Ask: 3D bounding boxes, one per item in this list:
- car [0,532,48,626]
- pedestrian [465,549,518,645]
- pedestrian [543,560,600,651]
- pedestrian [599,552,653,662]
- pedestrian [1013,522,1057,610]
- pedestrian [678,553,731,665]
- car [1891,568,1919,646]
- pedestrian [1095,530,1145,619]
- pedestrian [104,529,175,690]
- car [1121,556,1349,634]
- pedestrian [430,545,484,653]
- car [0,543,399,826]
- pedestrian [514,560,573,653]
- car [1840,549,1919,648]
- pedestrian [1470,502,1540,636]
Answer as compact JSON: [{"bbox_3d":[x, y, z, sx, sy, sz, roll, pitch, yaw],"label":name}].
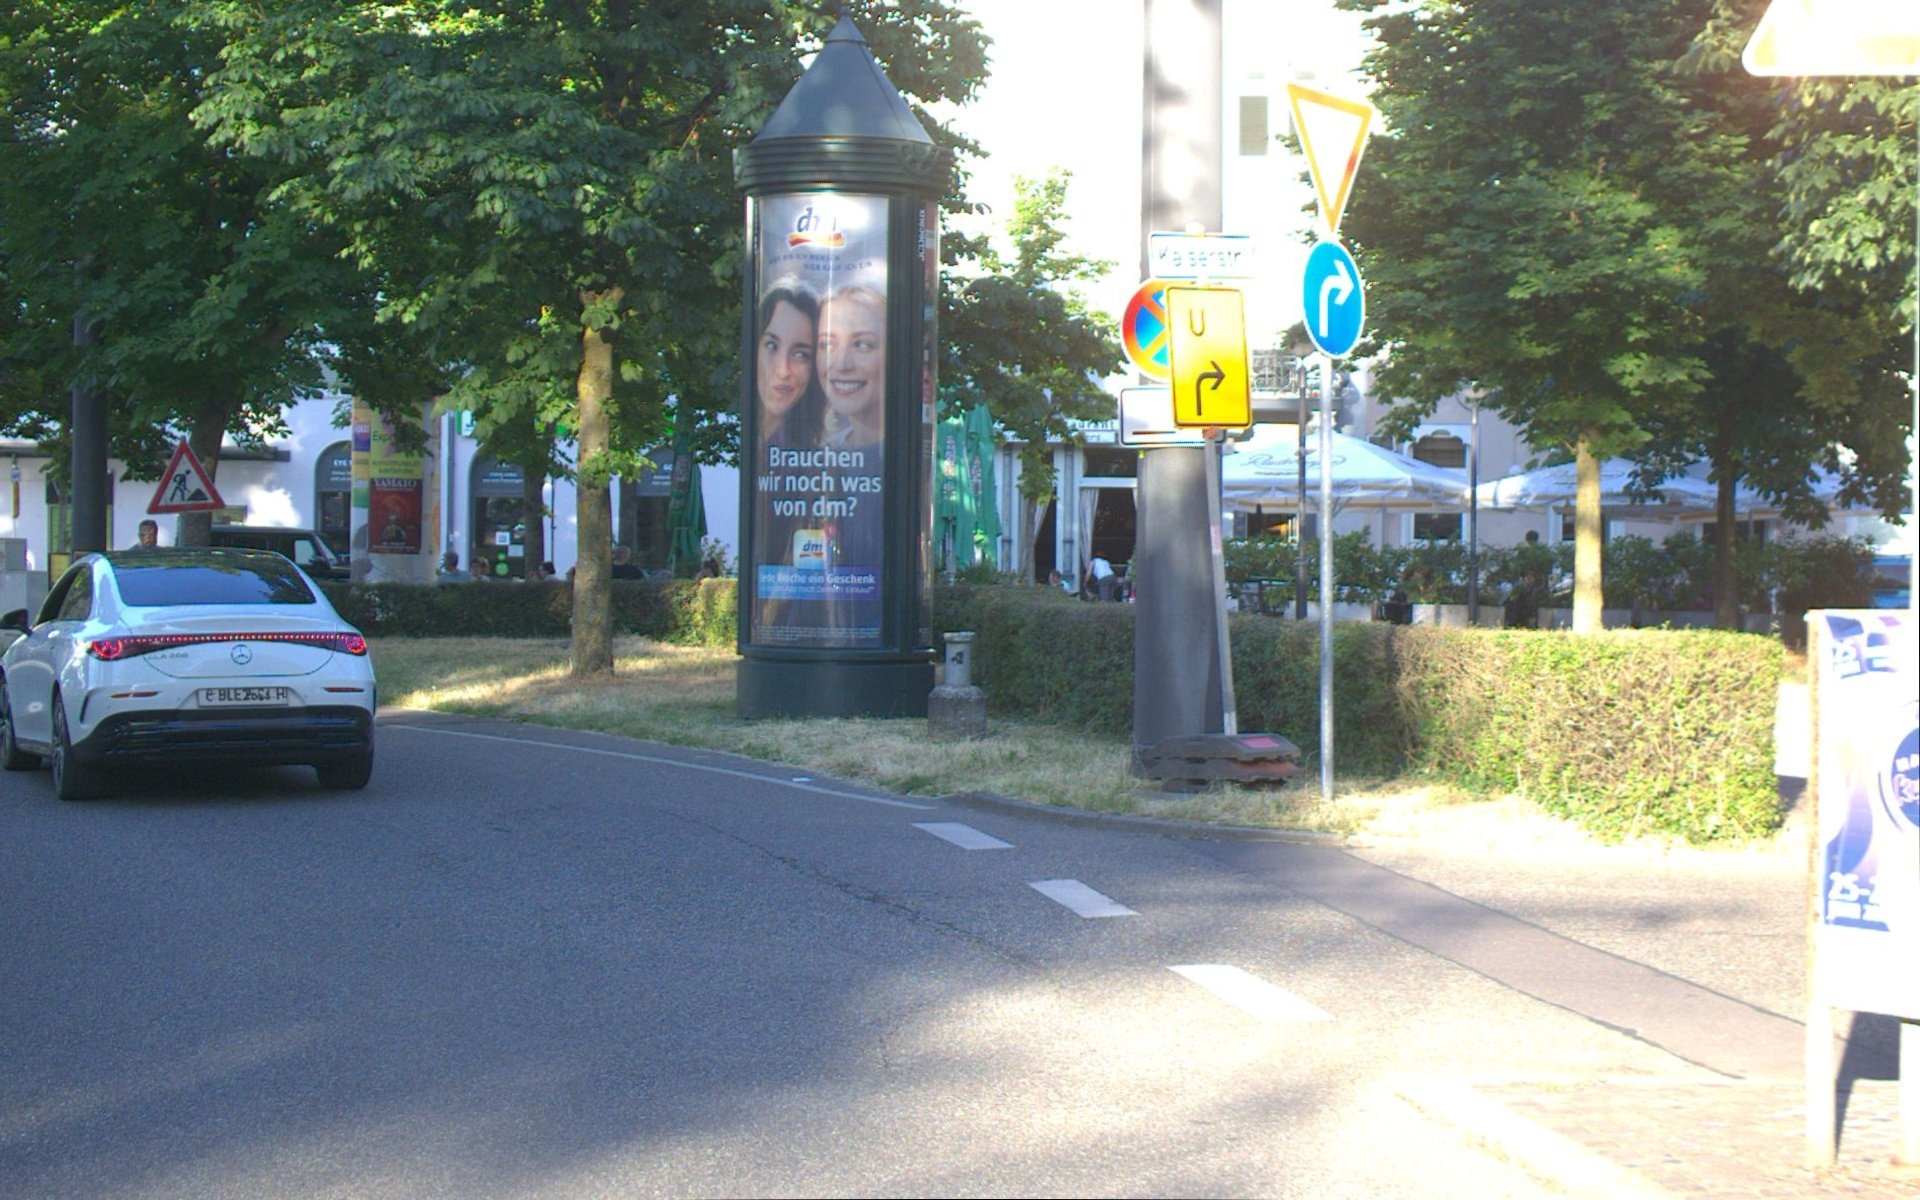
[{"bbox_3d":[-17.516,-0.399,58.329,3.613,1.546,1.662,1,1,2],"label":"car"},{"bbox_3d":[-6.789,-0.044,49.824,0.534,1.374,0.659,2,1,12],"label":"pedestrian"},{"bbox_3d":[-5.892,0.080,52.177,0.667,1.348,0.659,2,1,12],"label":"pedestrian"},{"bbox_3d":[-4.601,0.097,47.374,0.534,1.492,0.659,2,1,12],"label":"pedestrian"},{"bbox_3d":[1.619,-0.742,73.984,0.854,1.860,0.936,1,1,-2],"label":"pedestrian"},{"bbox_3d":[-3.561,0.119,47.986,0.534,1.543,0.659,2,1,12],"label":"pedestrian"},{"bbox_3d":[18.109,0.152,58.543,3.987,1.297,1.853,1,1,1],"label":"car"},{"bbox_3d":[3.397,-0.549,73.083,0.933,1.860,0.857,1,1,-5],"label":"pedestrian"},{"bbox_3d":[-8.083,0.088,33.857,0.559,1.561,0.594,1,1,-21],"label":"pedestrian"},{"bbox_3d":[4.949,-0.102,62.347,3.987,1.297,1.853,1,1,1],"label":"car"},{"bbox_3d":[-7.049,-0.013,48.195,0.534,1.492,0.659,2,1,12],"label":"pedestrian"},{"bbox_3d":[-4.835,0.431,21.266,1.864,1.436,4.198,-3,3,-20],"label":"car"},{"bbox_3d":[-6.203,0.092,51.227,0.667,1.348,0.659,2,1,12],"label":"pedestrian"},{"bbox_3d":[18.523,-0.007,63.614,3.987,1.776,1.853,1,1,1],"label":"car"},{"bbox_3d":[7.946,-0.449,50.144,0.933,1.917,0.857,2,1,11],"label":"pedestrian"}]
